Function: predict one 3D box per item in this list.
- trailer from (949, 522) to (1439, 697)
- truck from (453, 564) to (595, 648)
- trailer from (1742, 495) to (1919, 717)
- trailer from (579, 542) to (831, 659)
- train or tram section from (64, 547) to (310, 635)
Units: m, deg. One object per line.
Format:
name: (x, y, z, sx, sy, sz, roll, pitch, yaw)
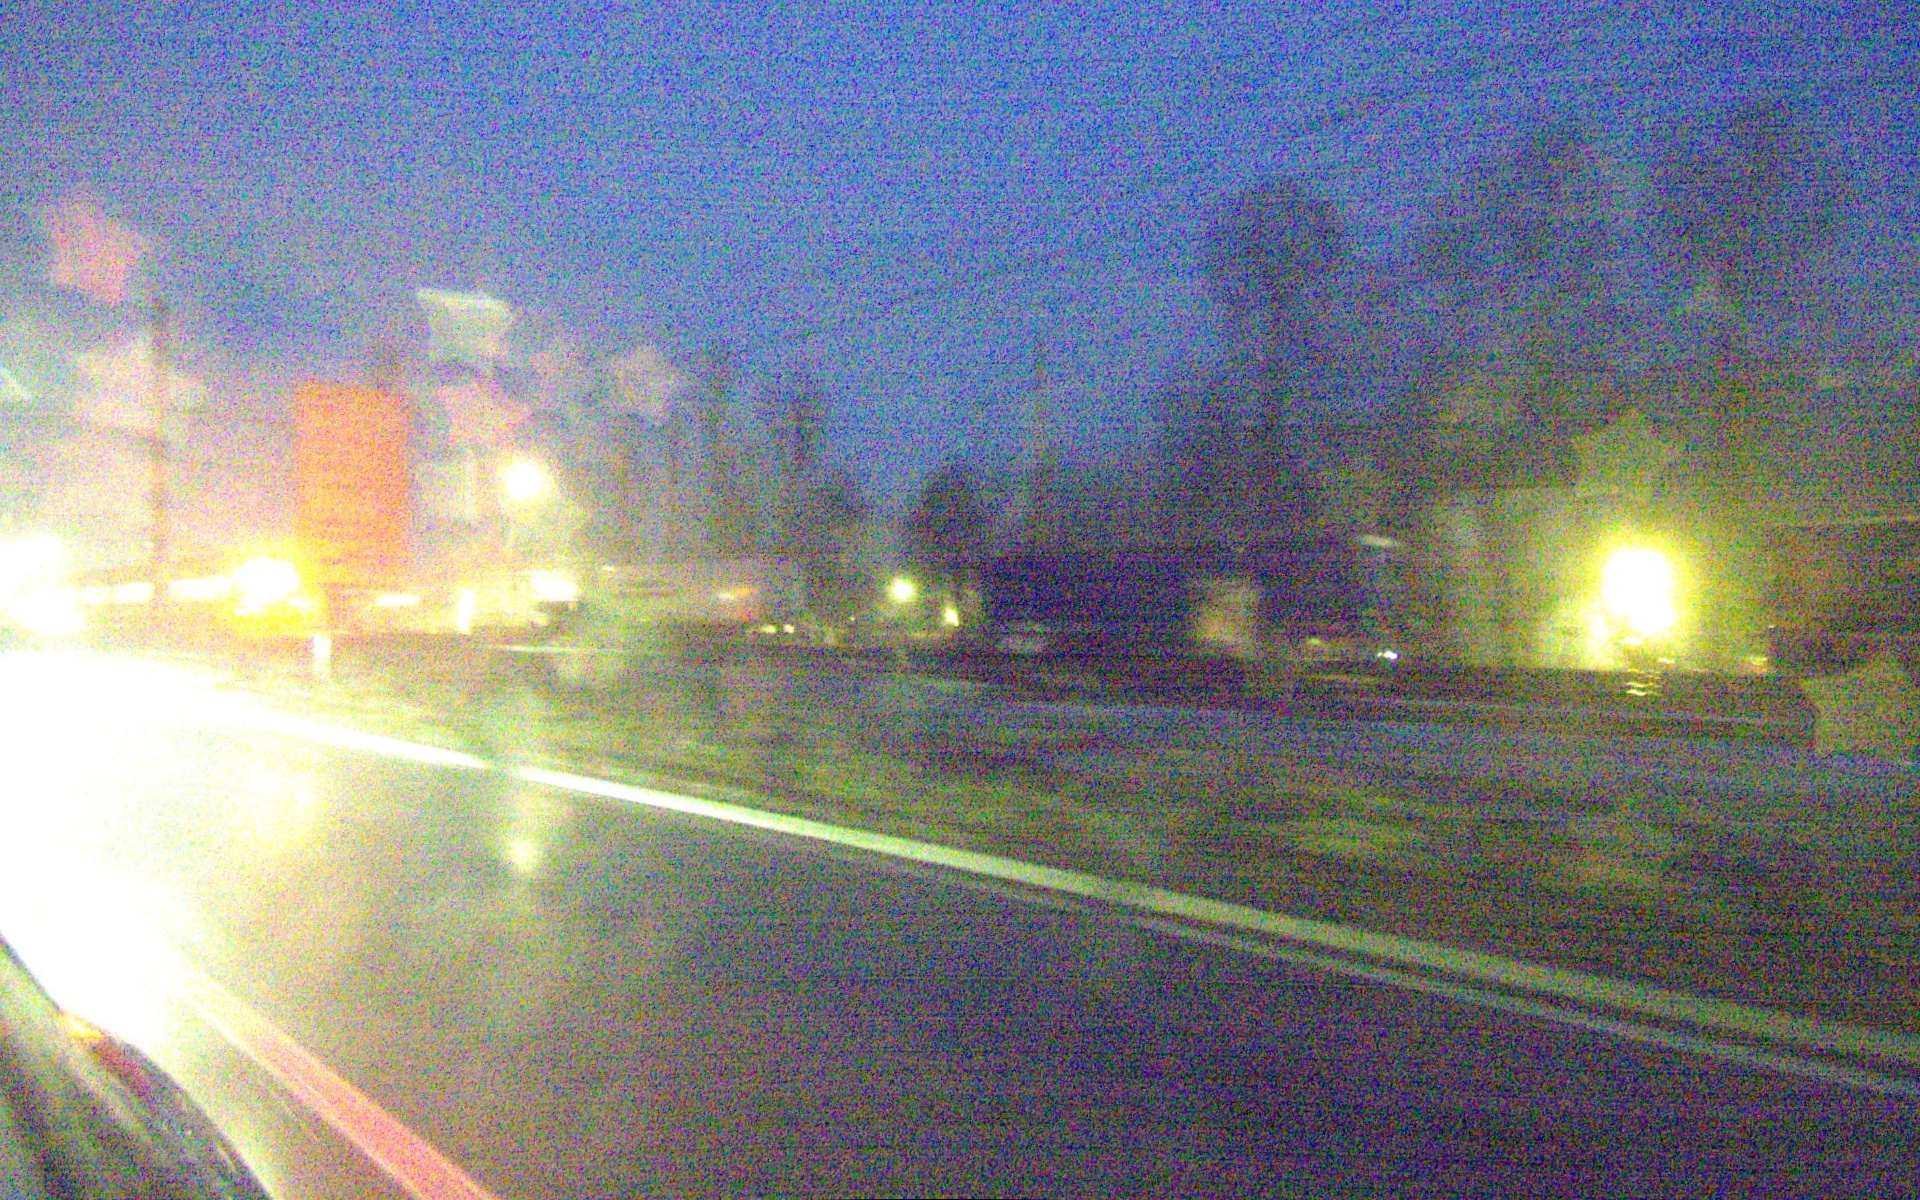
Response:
trailer: (6.857, 0.202, 33.169, 15.499, 4.644, 3.932, 0, 2, 39)
truck: (-26.323, 0.292, 60.830, 10.202, 4.644, 3.406, 0, 2, 39)
trailer: (24.492, 0.049, 20.010, 14.233, 4.644, 3.932, 0, 2, 39)
trailer: (-12.997, -0.022, 50.100, 14.820, 5.050, 3.932, 0, 2, 39)
train or tram section: (-44.798, -0.408, 56.921, 37.111, 3.843, 2.670, 0, 2, 40)
